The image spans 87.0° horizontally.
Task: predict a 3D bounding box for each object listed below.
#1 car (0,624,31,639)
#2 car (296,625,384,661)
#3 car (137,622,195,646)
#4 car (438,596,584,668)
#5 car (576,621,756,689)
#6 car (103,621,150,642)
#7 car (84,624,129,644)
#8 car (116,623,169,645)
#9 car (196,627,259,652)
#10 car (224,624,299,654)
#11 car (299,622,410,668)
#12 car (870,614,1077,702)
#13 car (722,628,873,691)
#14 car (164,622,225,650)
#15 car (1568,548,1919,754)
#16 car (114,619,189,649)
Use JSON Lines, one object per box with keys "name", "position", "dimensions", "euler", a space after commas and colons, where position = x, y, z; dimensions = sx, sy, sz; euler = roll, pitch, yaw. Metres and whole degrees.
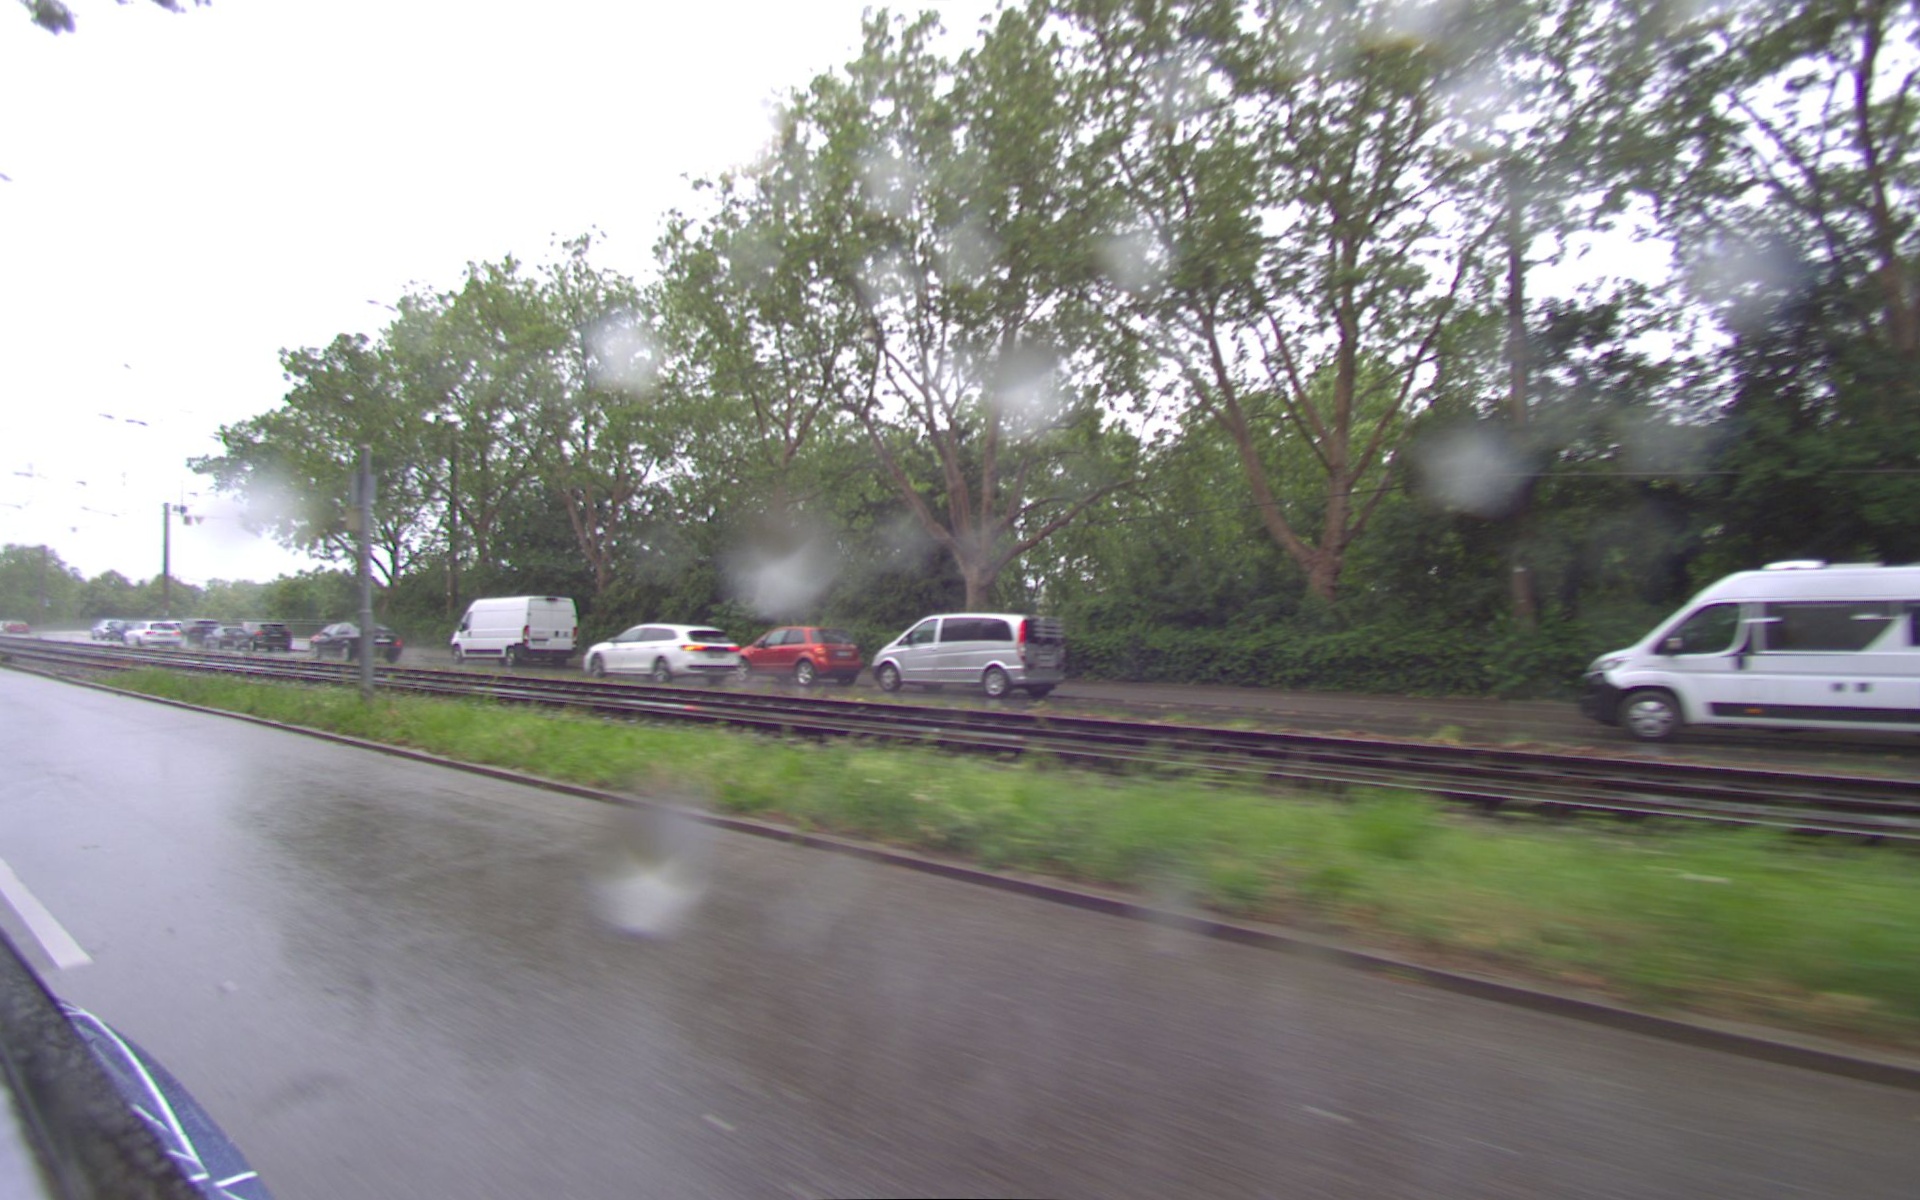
{"name": "car", "position": [-95.625, 3.164, 102.027], "dimensions": [4.911, 1.478, 2.014], "euler": [-1, -1, 38]}
{"name": "car", "position": [-28.933, 1.982, 47.199], "dimensions": [4.378, 1.564, 2.014], "euler": [-1, -3, 38]}
{"name": "car", "position": [-51.241, 2.194, 65.262], "dimensions": [4.572, 1.522, 1.867], "euler": [-1, -3, 38]}
{"name": "car", "position": [-16.607, 1.157, 37.293], "dimensions": [6.132, 2.465, 2.307], "euler": [-1, -3, 39]}
{"name": "car", "position": [-7.549, 1.357, 25.758], "dimensions": [4.761, 1.579, 1.959], "euler": [-1, -3, 38]}
{"name": "car", "position": [-59.791, 2.272, 72.551], "dimensions": [3.918, 1.442, 1.633], "euler": [-1, -3, 36]}
{"name": "car", "position": [-64.009, 2.542, 75.861], "dimensions": [4.145, 1.442, 1.633], "euler": [-1, -3, 37]}
{"name": "car", "position": [-55.780, 2.298, 69.034], "dimensions": [4.122, 1.442, 1.634], "euler": [-1, -3, 35]}
{"name": "car", "position": [-41.616, 2.241, 57.495], "dimensions": [3.961, 1.389, 1.867], "euler": [-1, -3, 39]}
{"name": "car", "position": [-37.376, 2.065, 54.135], "dimensions": [4.378, 1.564, 2.014], "euler": [-1, -3, 38]}
{"name": "car", "position": [-22.145, 1.620, 36.941], "dimensions": [4.561, 1.564, 2.013], "euler": [-1, -3, 39]}
{"name": "car", "position": [0.242, 1.296, 23.626], "dimensions": [4.635, 1.876, 1.937], "euler": [-1, -3, 39]}
{"name": "car", "position": [-4.417, 1.558, 27.293], "dimensions": [4.020, 1.564, 1.800], "euler": [-1, -3, 39]}
{"name": "car", "position": [-46.294, 2.170, 61.182], "dimensions": [4.364, 1.663, 1.867], "euler": [-1, -3, 39]}
{"name": "car", "position": [12.268, 0.690, 13.852], "dimensions": [6.556, 2.560, 2.367], "euler": [-1, -3, 37]}
{"name": "car", "position": [-43.937, 1.817, 54.976], "dimensions": [4.989, 1.564, 2.014], "euler": [-1, -3, 38]}
